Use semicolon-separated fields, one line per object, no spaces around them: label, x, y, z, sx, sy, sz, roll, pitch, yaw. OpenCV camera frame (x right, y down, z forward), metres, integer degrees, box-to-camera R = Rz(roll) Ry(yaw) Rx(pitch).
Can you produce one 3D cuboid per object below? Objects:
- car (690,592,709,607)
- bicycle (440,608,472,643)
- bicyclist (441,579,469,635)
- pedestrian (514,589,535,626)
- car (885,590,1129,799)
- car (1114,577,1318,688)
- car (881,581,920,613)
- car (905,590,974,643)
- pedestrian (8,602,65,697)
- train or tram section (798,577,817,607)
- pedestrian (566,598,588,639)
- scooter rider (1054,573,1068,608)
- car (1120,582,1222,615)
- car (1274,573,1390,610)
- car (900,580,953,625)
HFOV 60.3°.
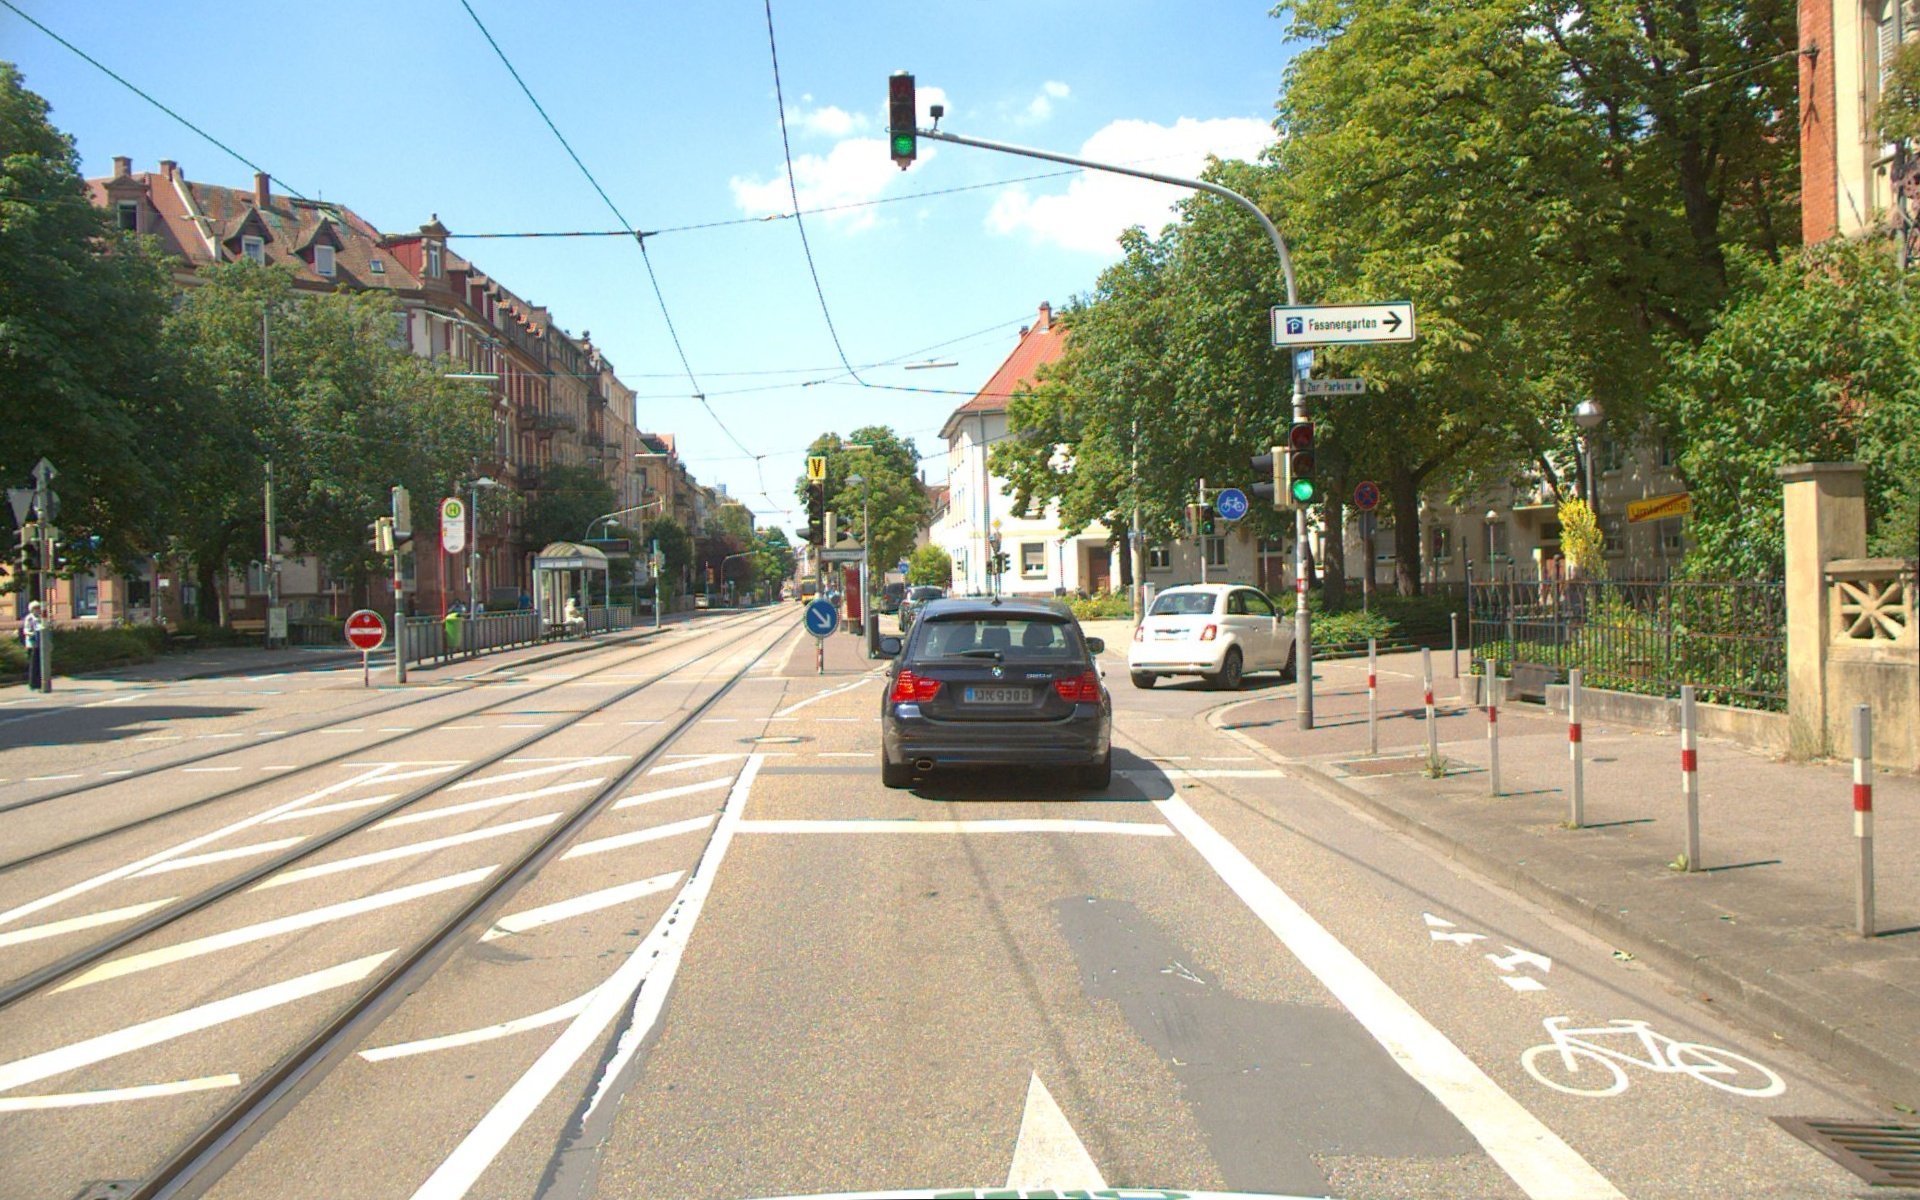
car;-27.661;-0.053;175.319;1.756;1.614;3.987;0;0;-13
bicycle;-17.331;0.864;56.873;0.715;1.121;1.713;-2;0;-6
bicyclist;-17.318;0.238;56.726;0.708;1.903;0.825;-2;0;-4
pedestrian;-22.002;0.392;83.558;0.627;1.843;0.739;-2;0;29
car;0.286;0.645;13.794;1.687;1.433;4.564;1;1;-1
car;3.963;0.448;25.183;1.655;1.510;3.674;-1;1;34
car;-3.697;-0.211;102.259;1.956;1.881;3.993;-2;0;-8
car;-0.591;0.428;45.057;1.658;1.346;3.818;-1;0;-4
pedestrian;-17.622;0.933;31.554;0.831;1.753;0.908;-2;0;-35
train or tram section;-18.441;-0.955;200.389;2.147;3.543;8.836;-2;1;-5
pedestrian;-11.959;0.564;51.674;0.602;1.264;0.626;-2;0;-10
scooter rider;4.971;-0.481;81.431;0.580;1.716;0.527;-2;0;-10
car;8.829;-0.077;69.368;3.913;1.265;1.620;-1;0;31
car;14.375;-0.316;64.100;1.773;1.351;4.283;-2;1;-36
car;-1.247;0.086;60.668;1.658;1.540;3.817;-1;0;-5
